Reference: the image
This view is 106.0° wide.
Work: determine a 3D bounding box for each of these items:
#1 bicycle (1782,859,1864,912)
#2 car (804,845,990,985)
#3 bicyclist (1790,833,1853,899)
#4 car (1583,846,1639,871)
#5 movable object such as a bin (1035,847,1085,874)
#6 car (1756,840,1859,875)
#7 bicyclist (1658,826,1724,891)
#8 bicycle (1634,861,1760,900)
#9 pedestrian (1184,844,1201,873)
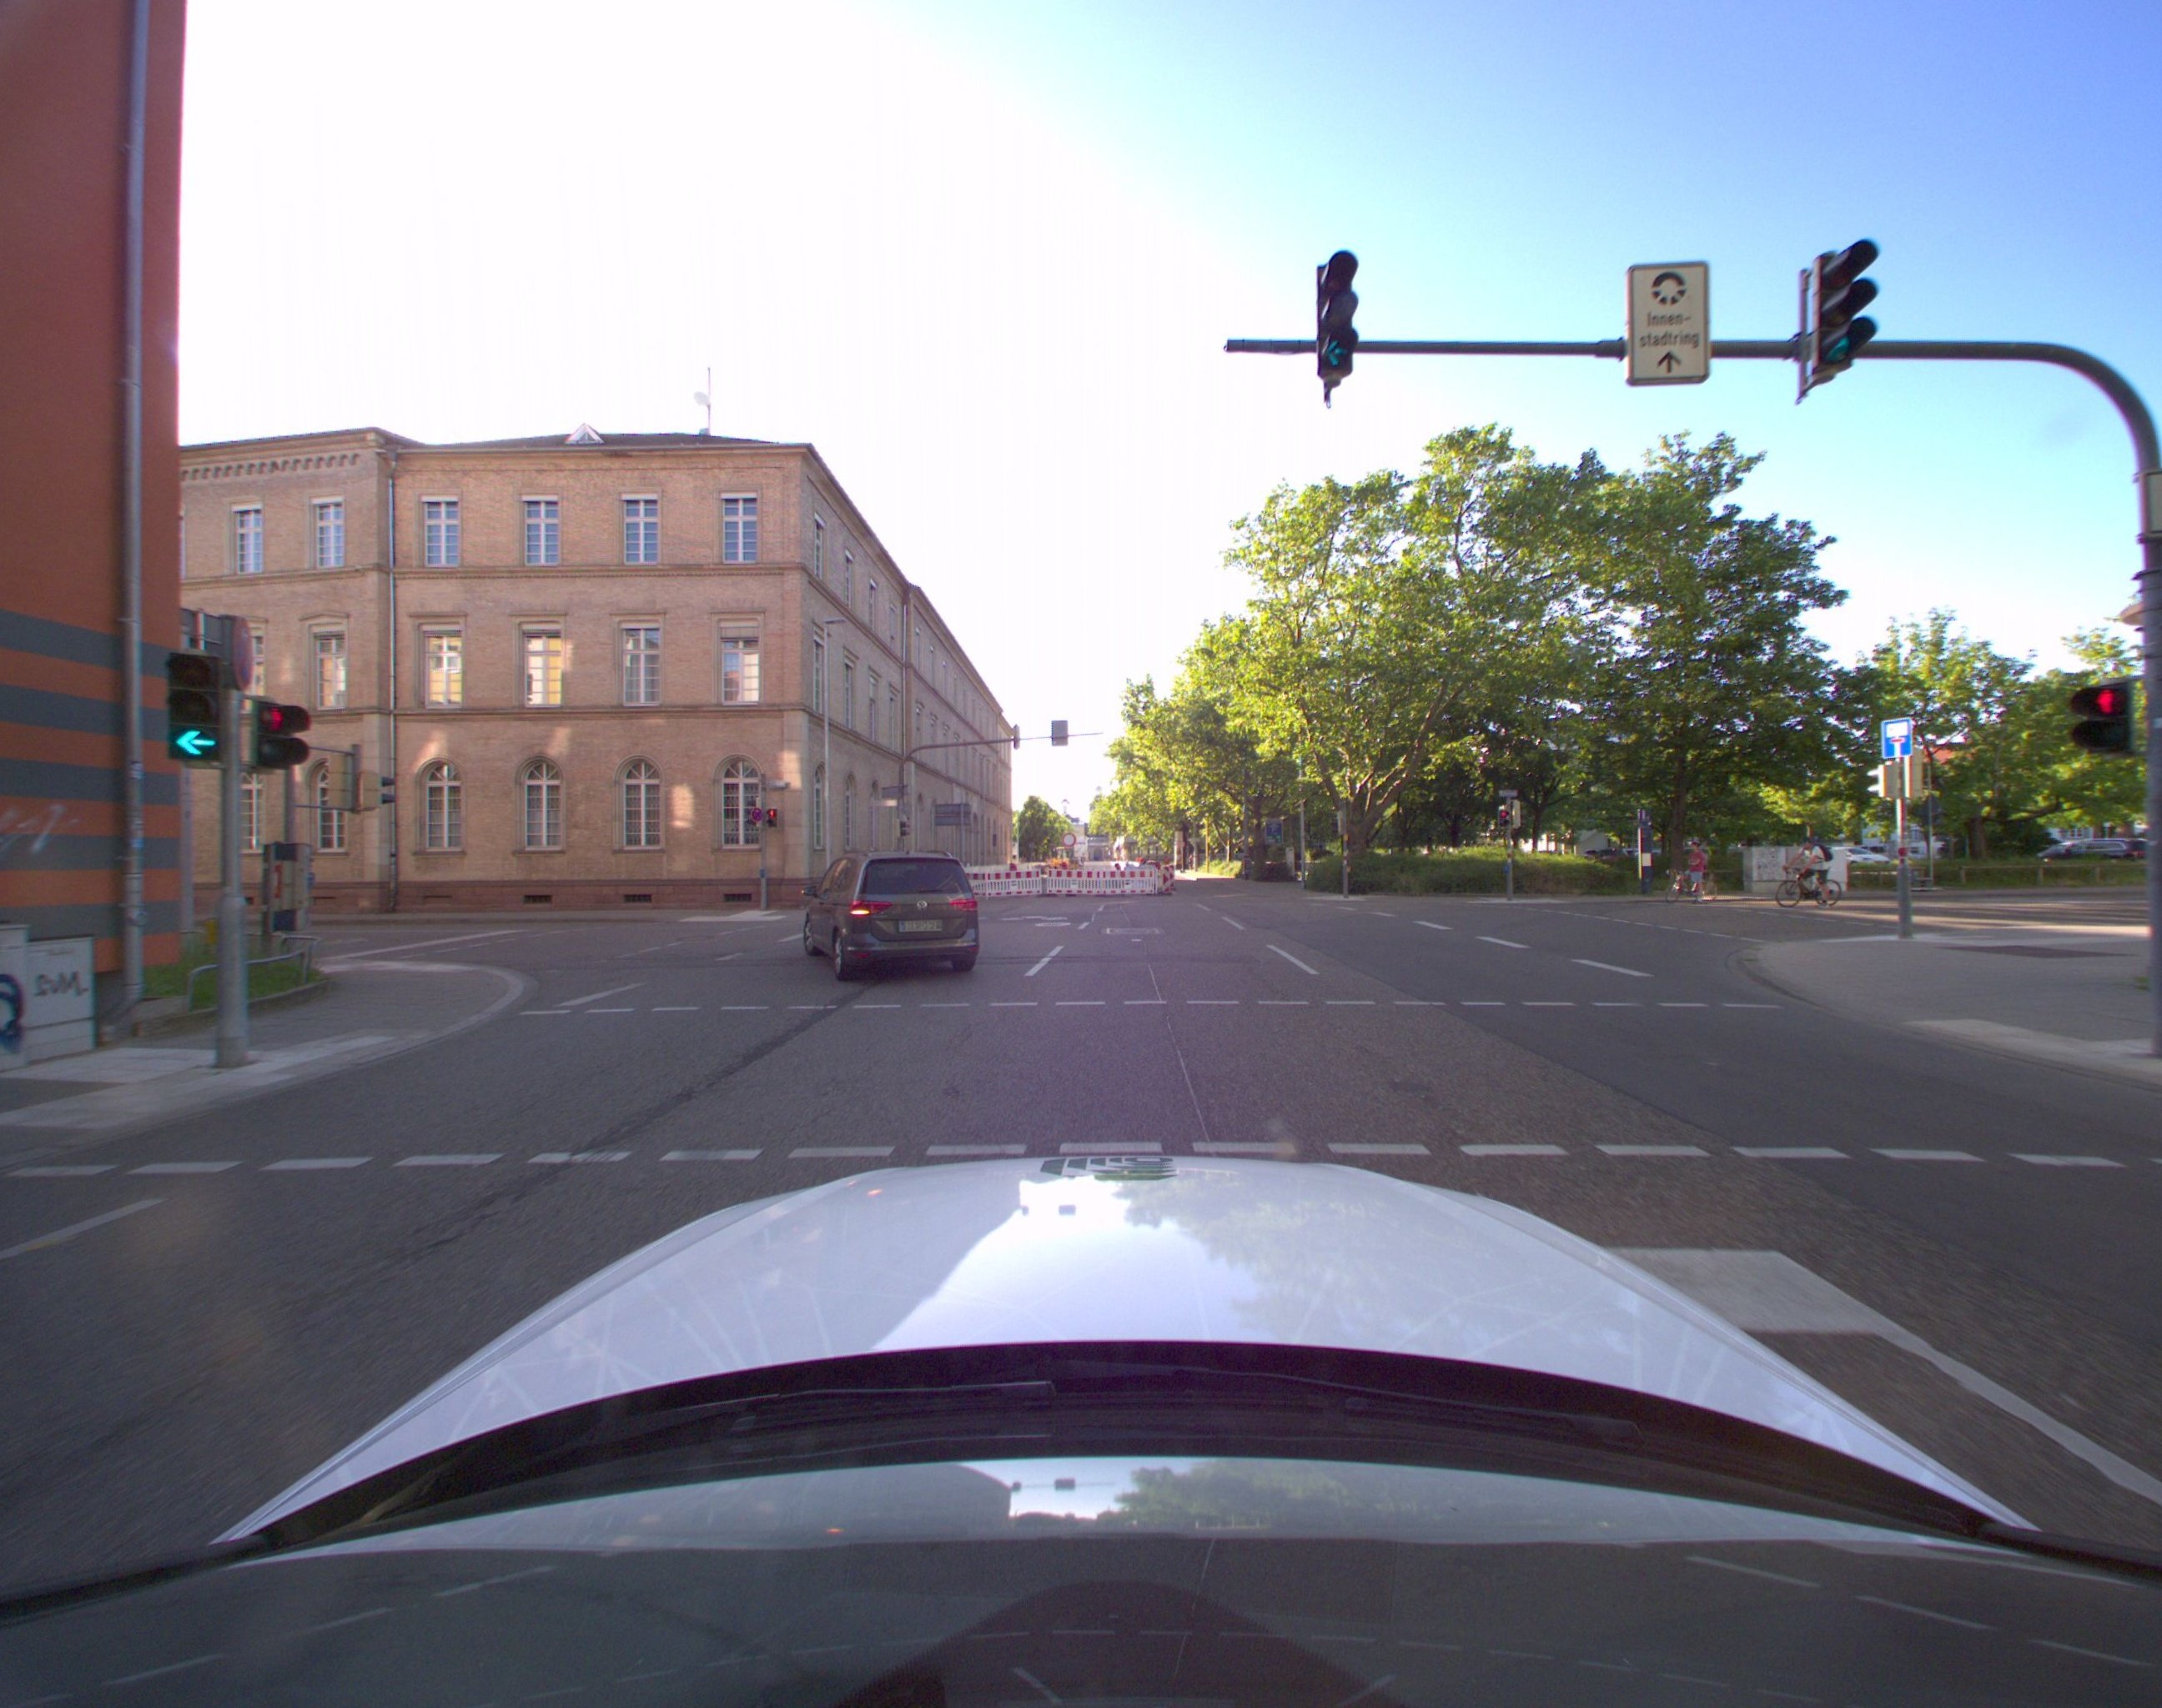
[{"bbox_3d":[18.108,0.738,19.947,0.969,1.051,2.677,-3,2,32],"label":"bicycle"},{"bbox_3d":[-2.784,0.709,11.601,1.771,1.607,3.967,-1,0,-25],"label":"car"},{"bbox_3d":[18.075,0.283,19.919,0.941,1.545,1.133,-1,1,32],"label":"bicyclist"},{"bbox_3d":[39.088,0.333,60.172,1.982,1.779,4.009,-1,-1,8],"label":"car"},{"bbox_3d":[-2.241,0.669,84.952,4.781,2.777,2.488,-1,-1,43],"label":"movable object such as a bin"},{"bbox_3d":[38.928,0.194,43.756,1.986,1.779,4.001,-1,-1,1],"label":"car"},{"bbox_3d":[17.486,0.118,23.374,1.125,1.808,0.977,-1,-1,-1],"label":"bicyclist"},{"bbox_3d":[17.661,0.750,23.390,2.989,1.038,0.942,-1,-1,-3],"label":"bicycle"},{"bbox_3d":[10.290,0.408,75.276,1.409,2.667,1.152,-1,-1,13],"label":"pedestrian"}]
